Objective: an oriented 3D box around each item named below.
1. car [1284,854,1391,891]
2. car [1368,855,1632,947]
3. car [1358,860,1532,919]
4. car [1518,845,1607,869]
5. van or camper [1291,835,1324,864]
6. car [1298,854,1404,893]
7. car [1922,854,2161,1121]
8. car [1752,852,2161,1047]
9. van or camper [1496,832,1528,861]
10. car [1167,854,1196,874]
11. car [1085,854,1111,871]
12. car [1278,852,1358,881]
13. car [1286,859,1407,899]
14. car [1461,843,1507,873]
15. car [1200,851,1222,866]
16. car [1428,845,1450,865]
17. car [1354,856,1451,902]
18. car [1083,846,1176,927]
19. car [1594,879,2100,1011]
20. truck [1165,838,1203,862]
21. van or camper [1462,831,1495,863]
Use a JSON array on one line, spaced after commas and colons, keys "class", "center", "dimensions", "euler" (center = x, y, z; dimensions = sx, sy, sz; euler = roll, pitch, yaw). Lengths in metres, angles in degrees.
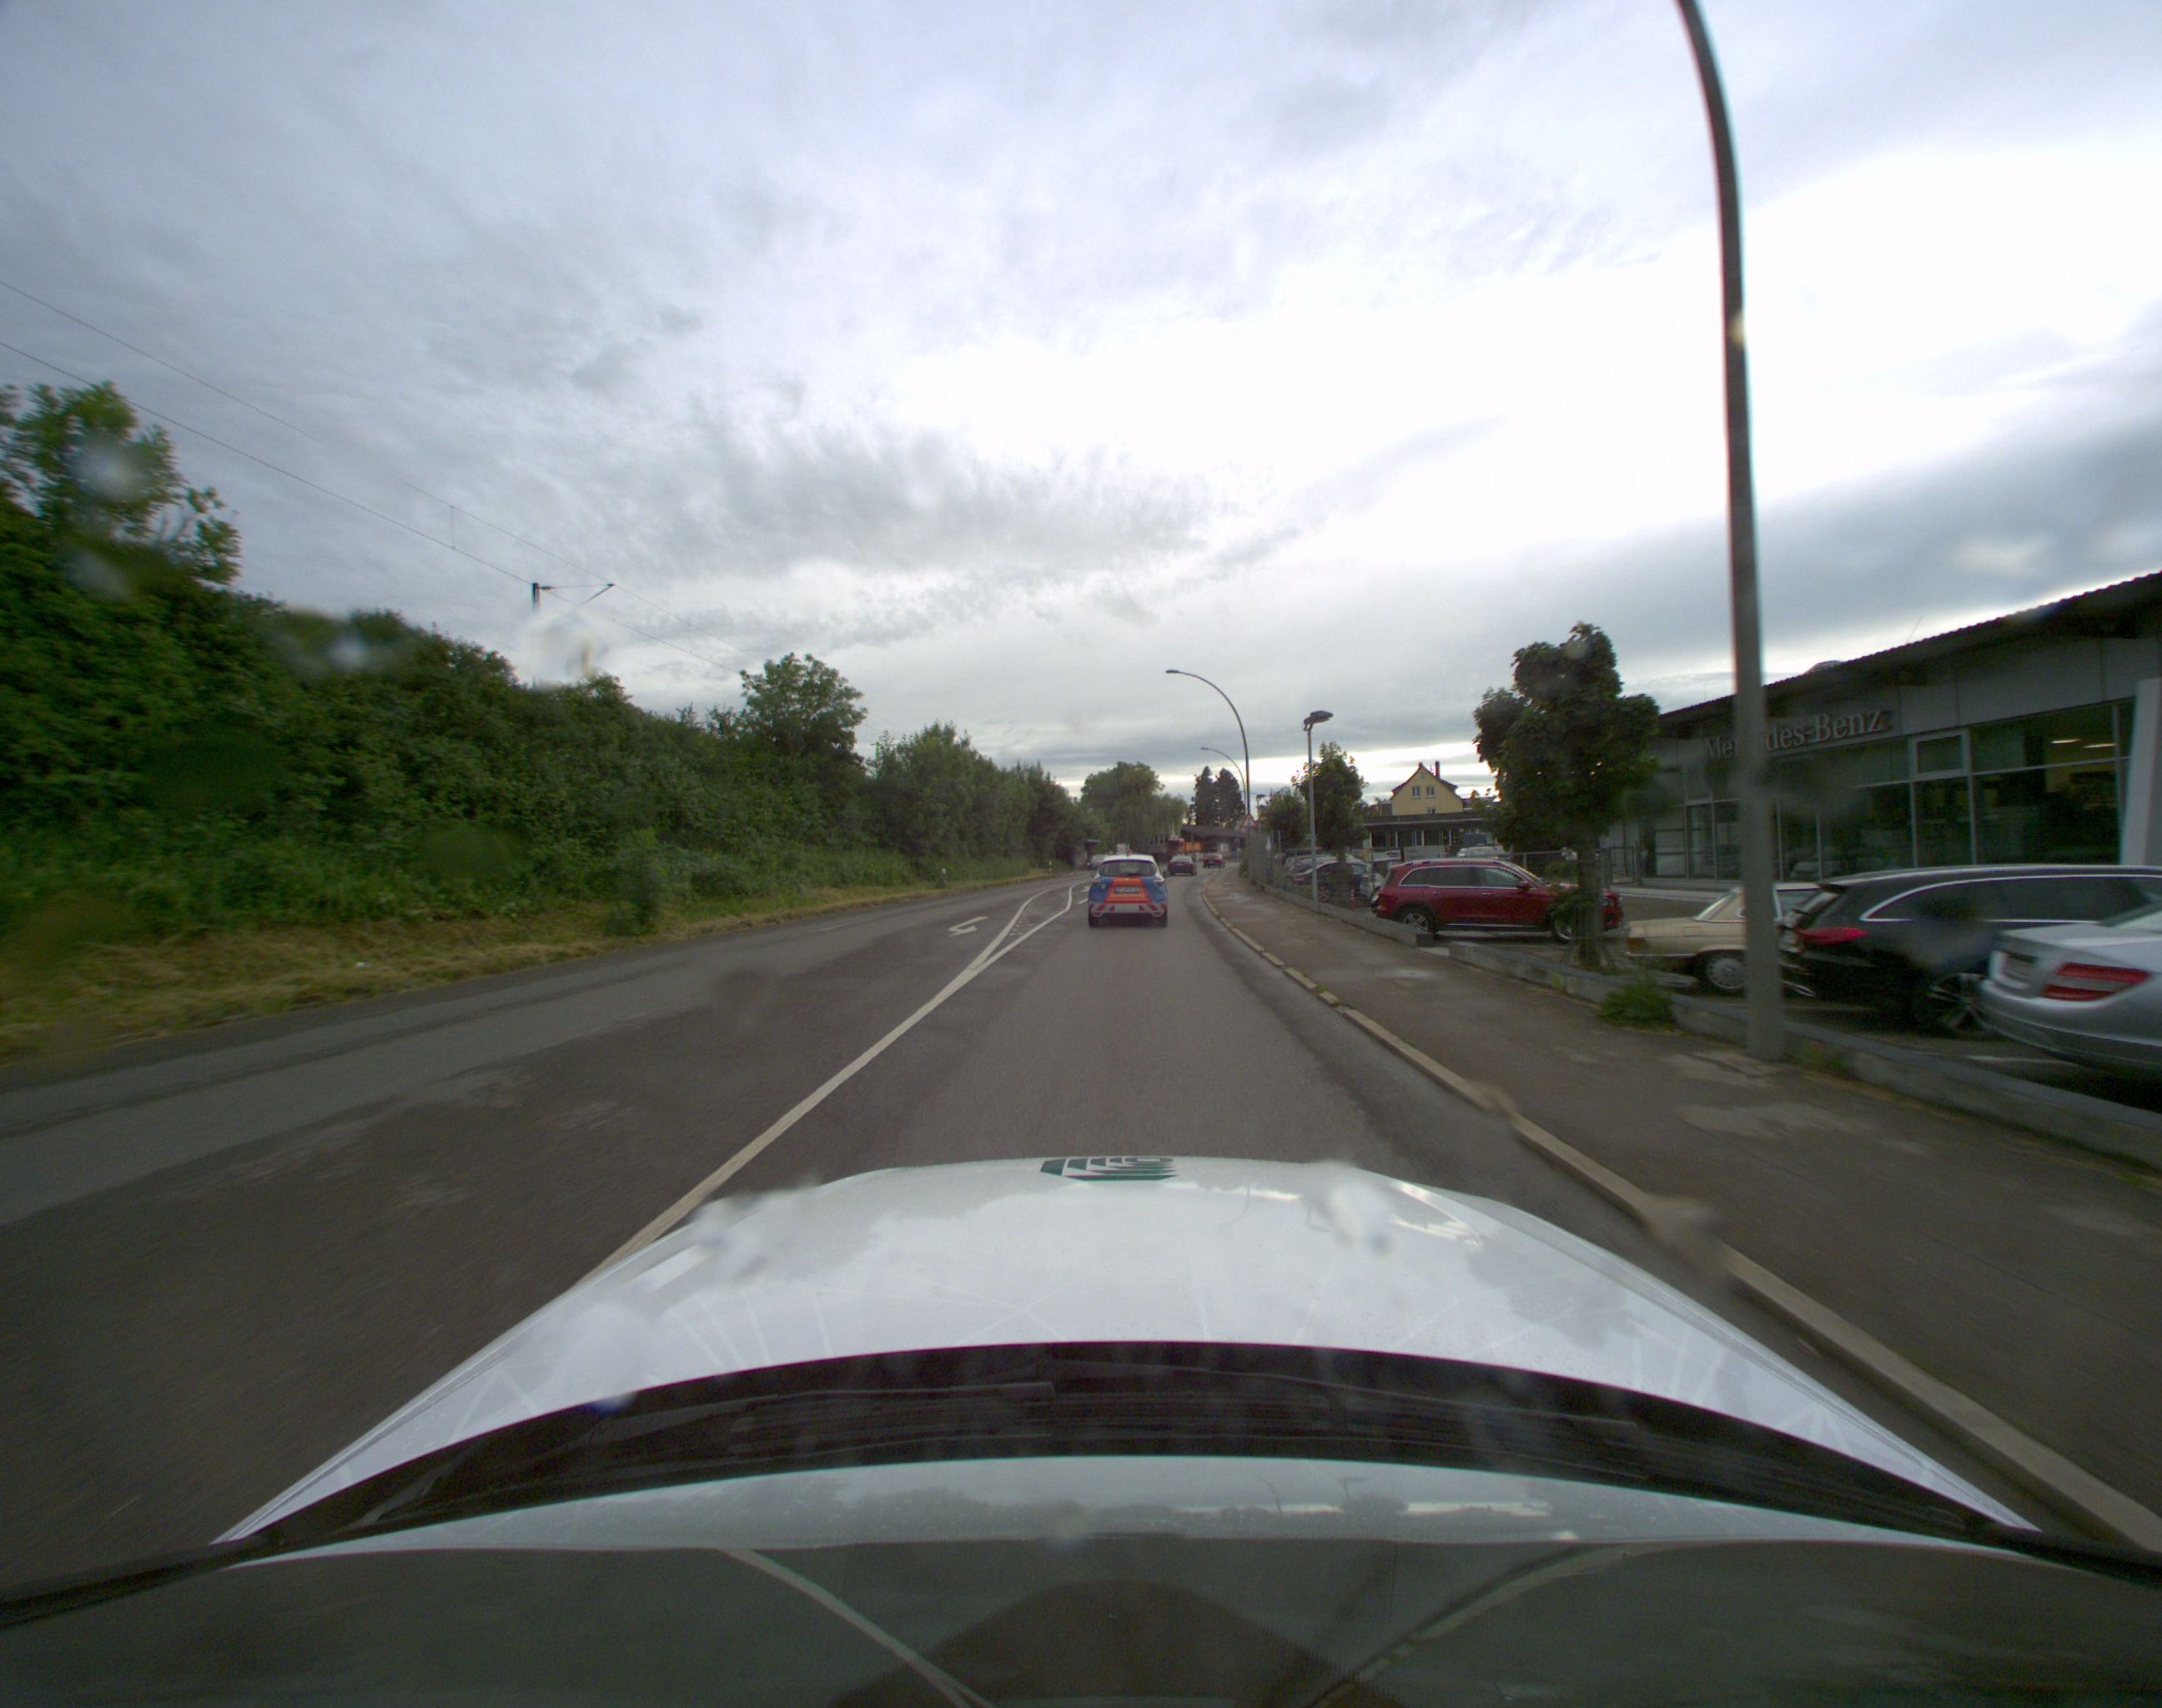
[{"class": "car", "center": [10.519, 0.772, 33.611], "dimensions": [3.969, 1.408, 1.595], "euler": [1, -1, 4]}, {"class": "car", "center": [8.603, 0.882, 16.935], "dimensions": [4.637, 1.662, 2.012], "euler": [0, -1, 31]}, {"class": "car", "center": [9.884, 0.931, 22.187], "dimensions": [4.111, 1.441, 1.822], "euler": [-1, 0, 32]}, {"class": "car", "center": [29.430, 0.152, 49.887], "dimensions": [4.591, 1.400, 1.730], "euler": [0, -1, 30]}, {"class": "van or camper", "center": [22.163, -0.464, 79.493], "dimensions": [2.023, 2.593, 6.627], "euler": [-2, 0, 24]}, {"class": "car", "center": [11.798, 0.843, 35.827], "dimensions": [4.148, 1.598, 1.974], "euler": [1, -1, 9]}, {"class": "car", "center": [7.815, 0.702, 4.473], "dimensions": [4.120, 1.467, 1.849], "euler": [-3, -2, 36]}, {"class": "car", "center": [8.674, 0.766, 7.255], "dimensions": [3.918, 1.492, 1.988], "euler": [0, -1, 31]}, {"class": "van or camper", "center": [31.731, -0.522, 59.909], "dimensions": [1.975, 1.938, 5.463], "euler": [0, -1, 28]}, {"class": "car", "center": [7.148, 0.691, 57.636], "dimensions": [1.709, 1.376, 3.945], "euler": [-1, 0, 11]}, {"class": "car", "center": [1.640, 0.828, 76.476], "dimensions": [1.983, 1.474, 4.709], "euler": [1, -1, 7]}, {"class": "car", "center": [12.453, 0.660, 42.956], "dimensions": [3.958, 1.404, 1.796], "euler": [1, -1, 15]}, {"class": "car", "center": [10.038, 0.939, 31.072], "dimensions": [4.086, 1.370, 2.003], "euler": [1, -1, 6]}, {"class": "car", "center": [20.433, 0.236, 41.344], "dimensions": [1.975, 1.420, 4.023], "euler": [0, -1, 26]}, {"class": "car", "center": [13.205, 0.482, 82.505], "dimensions": [1.980, 1.420, 4.012], "euler": [1, -1, 12]}, {"class": "car", "center": [30.204, 0.042, 68.710], "dimensions": [1.623, 1.571, 3.415], "euler": [-2, 0, 24]}, {"class": "car", "center": [11.221, 0.877, 28.586], "dimensions": [2.704, 1.445, 2.004], "euler": [-3, -2, 7]}, {"class": "car", "center": [1.153, 0.674, 18.849], "dimensions": [1.880, 1.632, 4.004], "euler": [-1, 0, 4]}, {"class": "car", "center": [8.715, 0.974, 9.883], "dimensions": [4.181, 1.301, 1.746], "euler": [-2, -3, 32]}, {"class": "truck", "center": [15.794, -0.552, 124.661], "dimensions": [2.672, 3.412, 9.125], "euler": [0, -1, 28]}, {"class": "van or camper", "center": [33.368, -0.604, 68.345], "dimensions": [2.311, 2.557, 5.774], "euler": [-2, 0, 26]}]
